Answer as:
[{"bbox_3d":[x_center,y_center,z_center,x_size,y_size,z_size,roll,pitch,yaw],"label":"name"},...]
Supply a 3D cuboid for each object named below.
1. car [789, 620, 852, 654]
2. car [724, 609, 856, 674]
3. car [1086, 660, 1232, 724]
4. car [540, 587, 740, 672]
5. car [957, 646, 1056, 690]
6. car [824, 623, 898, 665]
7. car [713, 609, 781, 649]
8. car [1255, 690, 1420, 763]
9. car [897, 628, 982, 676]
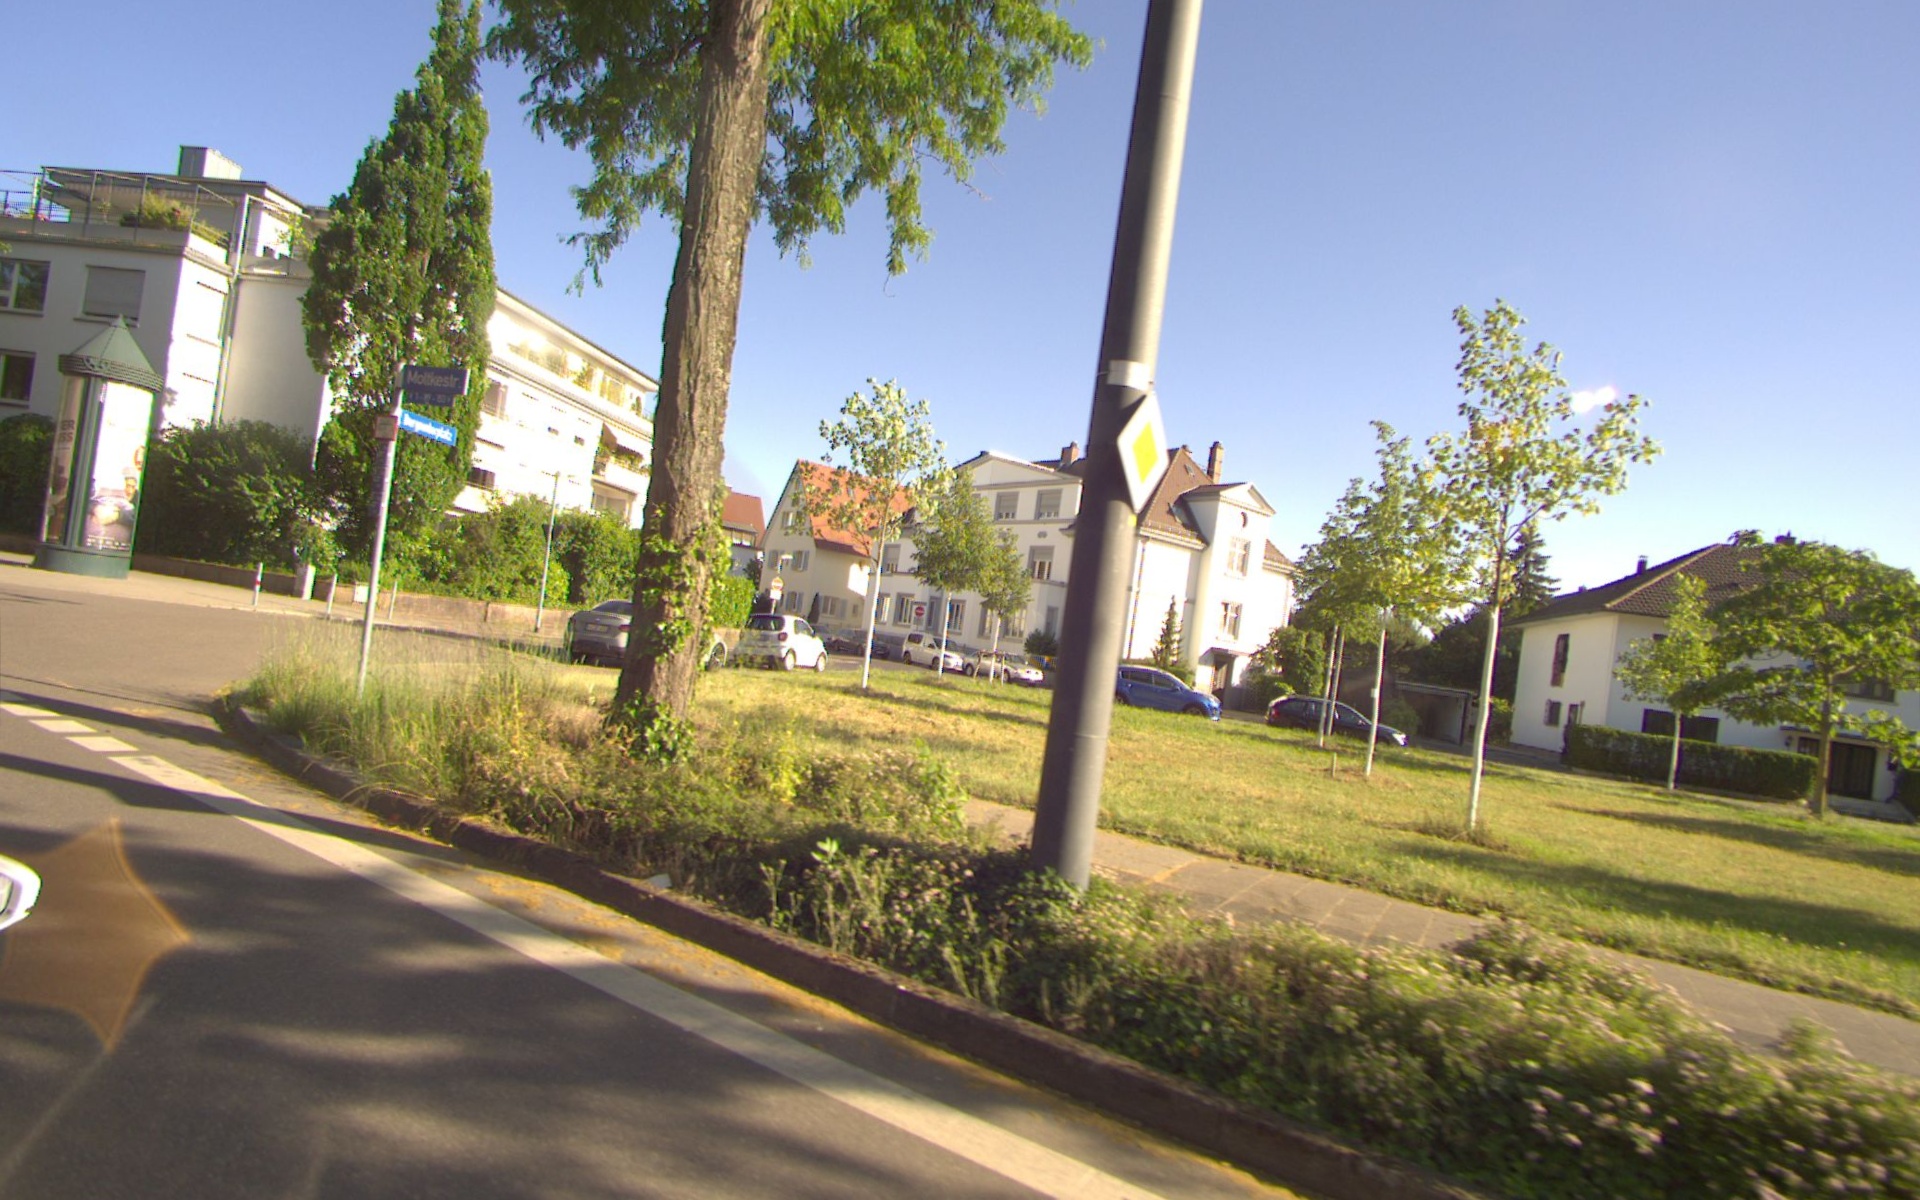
[{"bbox_3d":[-8.611,2.258,61.875,1.984,1.537,3.961,9,-2,-36],"label":"car"},{"bbox_3d":[-4.771,1.247,28.919,1.806,1.527,4.299,5,-3,19],"label":"car"},{"bbox_3d":[6.871,3.146,34.801,4.665,1.487,2.068,8,-2,12],"label":"car"},{"bbox_3d":[-6.708,0.729,21.729,1.931,1.384,4.532,7,-2,13],"label":"car"},{"bbox_3d":[2.069,3.108,46.261,1.983,1.444,4.721,9,-3,-34],"label":"car"},{"bbox_3d":[-5.690,2.478,57.337,1.985,1.805,4.557,9,-3,-37],"label":"car"},{"bbox_3d":[-12.033,1.634,56.713,2.035,1.727,4.247,9,-3,-36],"label":"car"},{"bbox_3d":[12.418,4.148,33.409,4.676,1.667,2.004,8,-3,11],"label":"car"},{"bbox_3d":[-1.087,2.590,50.751,1.983,1.862,4.517,9,-3,-34],"label":"car"}]
